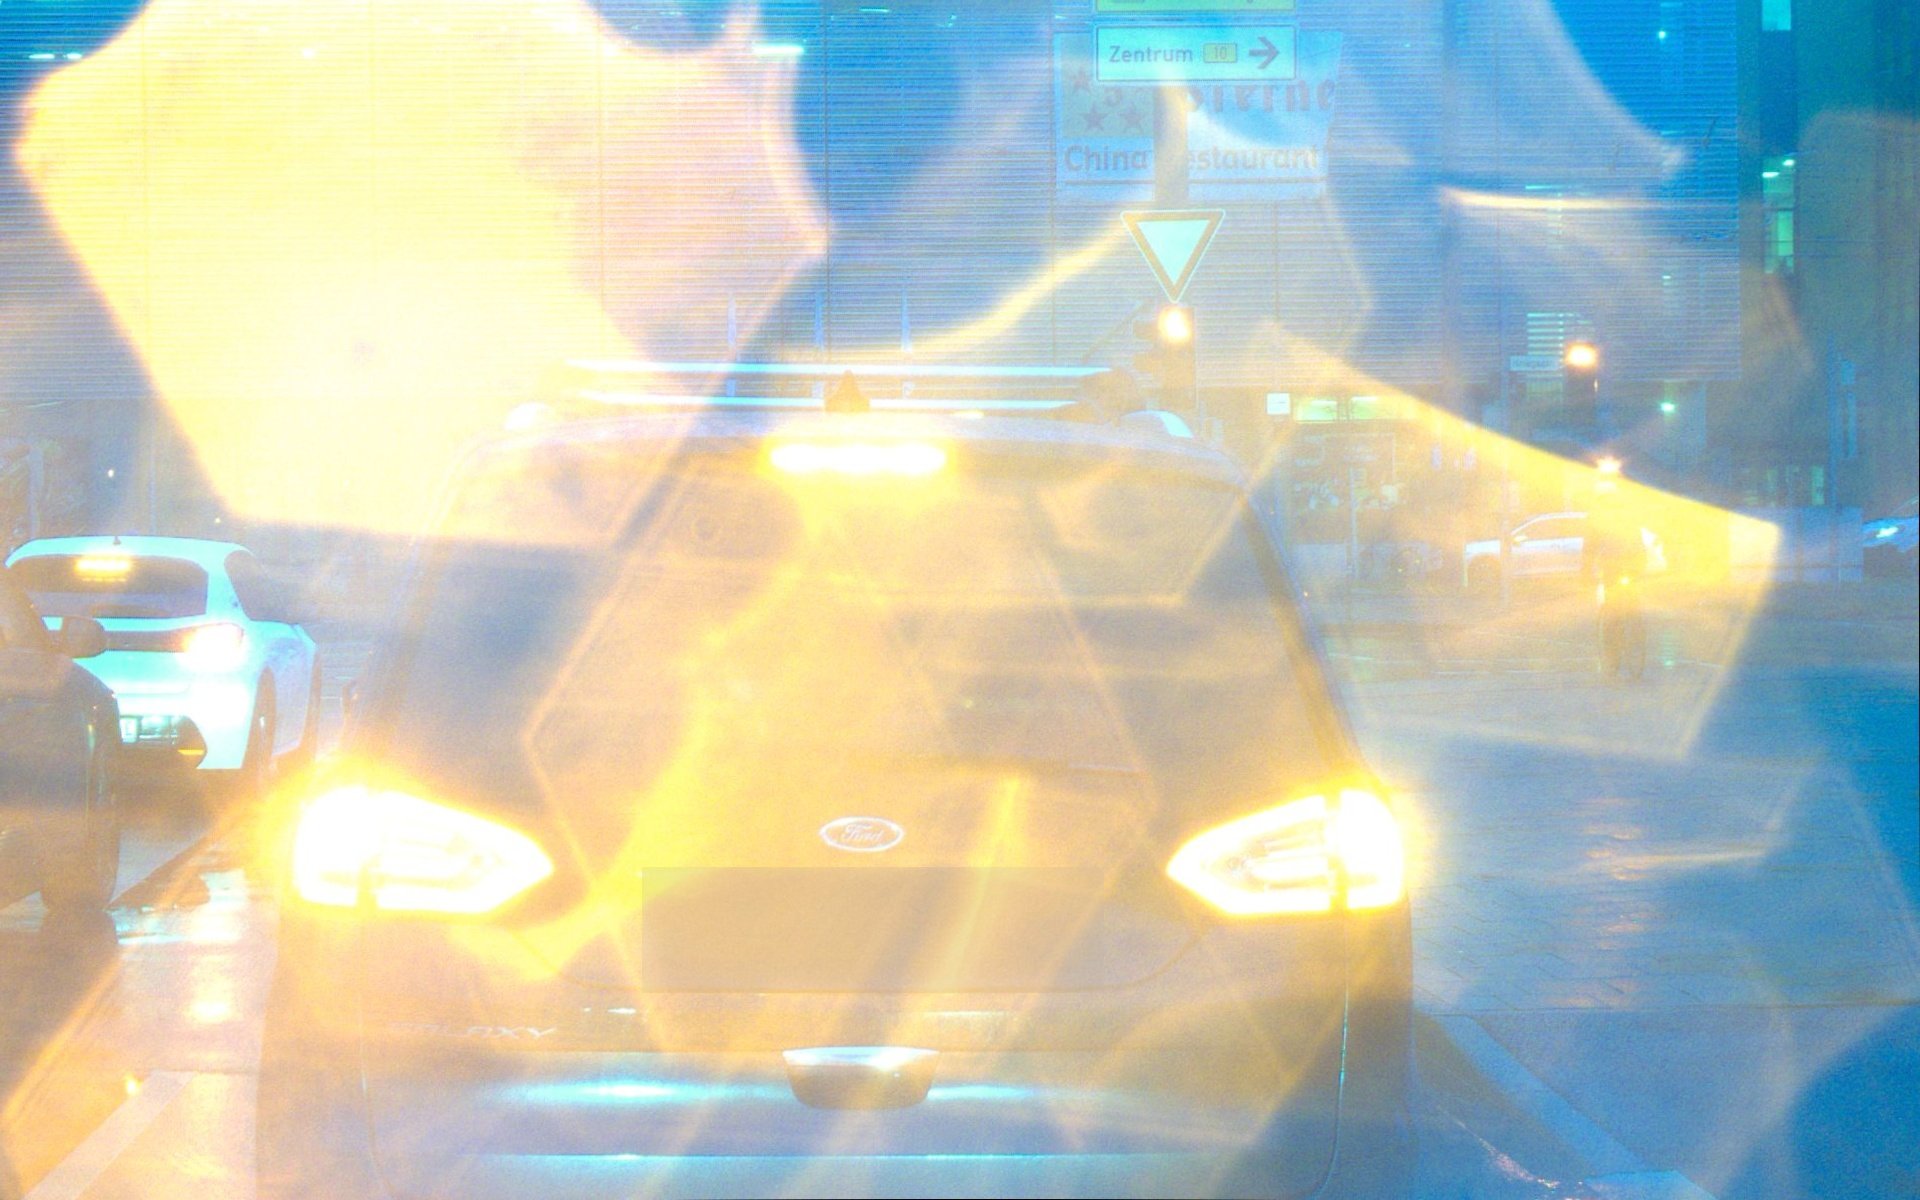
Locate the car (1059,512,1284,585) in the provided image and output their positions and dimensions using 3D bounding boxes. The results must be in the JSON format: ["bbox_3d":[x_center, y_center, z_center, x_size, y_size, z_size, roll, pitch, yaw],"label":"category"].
[{"bbox_3d":[4.222,-1.044,68.848,4.214,1.385,1.800,-1,1,-7],"label":"car"}]

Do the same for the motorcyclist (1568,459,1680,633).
[{"bbox_3d":[5.941,-0.486,30.825,0.868,1.529,1.108,0,1,5],"label":"motorcyclist"}]

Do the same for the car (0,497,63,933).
[{"bbox_3d":[-4.266,0.435,11.511,1.752,1.568,4.001,-1,1,-5],"label":"car"}]

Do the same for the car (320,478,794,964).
[{"bbox_3d":[-1.565,0.399,13.856,1.636,1.691,3.671,0,1,-5],"label":"car"}]

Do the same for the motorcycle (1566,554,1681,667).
[{"bbox_3d":[5.950,0.085,30.894,0.853,0.968,1.581,0,1,5],"label":"motorcycle"}]

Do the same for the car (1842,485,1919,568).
[{"bbox_3d":[19.672,-1.455,67.023,4.418,1.589,1.800,-1,1,-7],"label":"car"}]

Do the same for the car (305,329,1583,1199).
[{"bbox_3d":[-0.131,0.468,6.887,1.735,1.732,4.247,2,1,-3],"label":"car"}]

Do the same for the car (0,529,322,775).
[{"bbox_3d":[-4.515,0.229,19.630,1.540,1.247,4.069,0,1,-8],"label":"car"}]

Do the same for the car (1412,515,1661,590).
[{"bbox_3d":[11.118,-0.932,66.438,4.418,1.385,1.800,-1,1,-7],"label":"car"}]
